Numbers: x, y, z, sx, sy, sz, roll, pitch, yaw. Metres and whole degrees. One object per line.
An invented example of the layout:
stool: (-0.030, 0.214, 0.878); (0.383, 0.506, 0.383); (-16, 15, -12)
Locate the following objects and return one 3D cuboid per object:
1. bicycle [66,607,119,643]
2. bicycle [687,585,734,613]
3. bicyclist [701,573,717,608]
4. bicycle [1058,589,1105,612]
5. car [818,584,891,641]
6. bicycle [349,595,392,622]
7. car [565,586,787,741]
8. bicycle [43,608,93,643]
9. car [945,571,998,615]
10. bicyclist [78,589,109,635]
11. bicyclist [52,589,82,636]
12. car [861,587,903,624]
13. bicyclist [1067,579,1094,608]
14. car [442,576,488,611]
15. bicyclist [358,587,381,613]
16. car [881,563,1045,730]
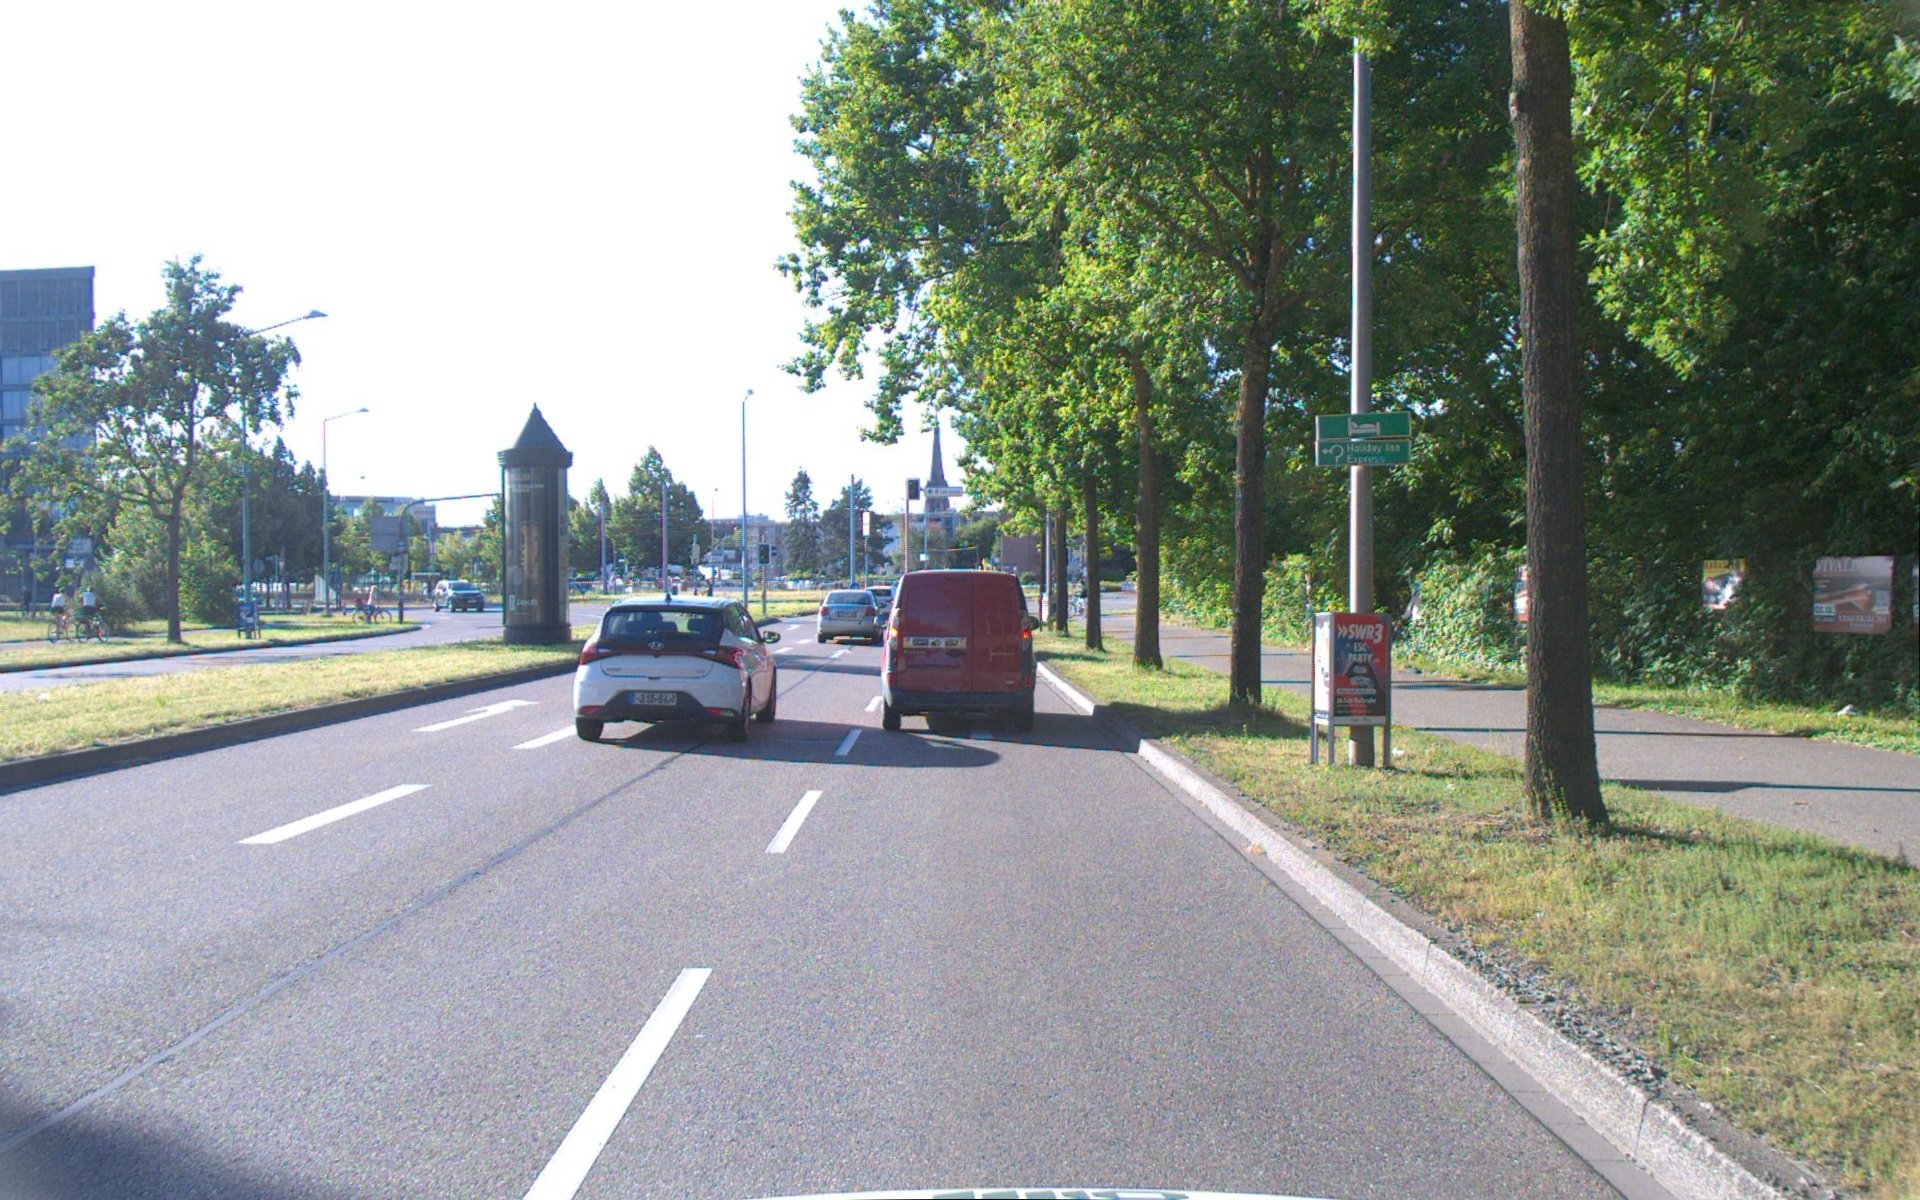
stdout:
bicycle: (-26.555, 0.758, 50.659); (0.558, 1.021, 2.096); (-1, 1, -2)
bicycle: (-10.795, -0.042, 71.633); (1.919, 1.186, 0.517); (-1, 1, -2)
bicyclist: (-10.877, -0.424, 71.627); (0.591, 1.494, 0.517); (-1, 0, -2)
bicycle: (5.478, 0.010, 74.419); (2.100, 0.974, 0.780); (-1, 1, -33)
car: (-2.955, 0.313, 47.014); (1.803, 1.482, 4.162); (1, 1, 0)
bicycle: (-25.481, 0.359, 71.474); (1.690, 1.126, 0.605); (-1, 0, 12)
car: (-2.961, 0.598, 18.066); (1.742, 1.433, 4.075); (0, 1, 0)
bicycle: (-27.664, 0.780, 51.330); (0.477, 1.021, 2.096); (-1, 1, -2)
car: (0.510, -0.292, 69.265); (1.624, 1.792, 3.501); (-1, 1, 11)
bicyclist: (-26.561, 0.360, 50.726); (0.551, 1.416, 0.747); (-1, 0, -2)
bicyclist: (-27.665, 0.376, 51.229); (0.472, 1.419, 0.844); (-1, 0, -2)
car: (-3.209, 0.208, 68.766); (1.627, 1.422, 3.558); (-1, 1, -1)
bicyclist: (5.426, -0.296, 74.393); (0.959, 1.271, 0.780); (-1, 0, -33)
car: (-27.854, -0.348, 93.036); (1.617, 1.909, 3.960); (-1, 1, -30)
bicyclist: (-25.501, -0.007, 71.474); (0.719, 1.126, 0.605); (-1, 0, 12)
car: (0.004, 0.466, 19.947); (1.769, 1.790, 4.005); (1, 1, -1)
